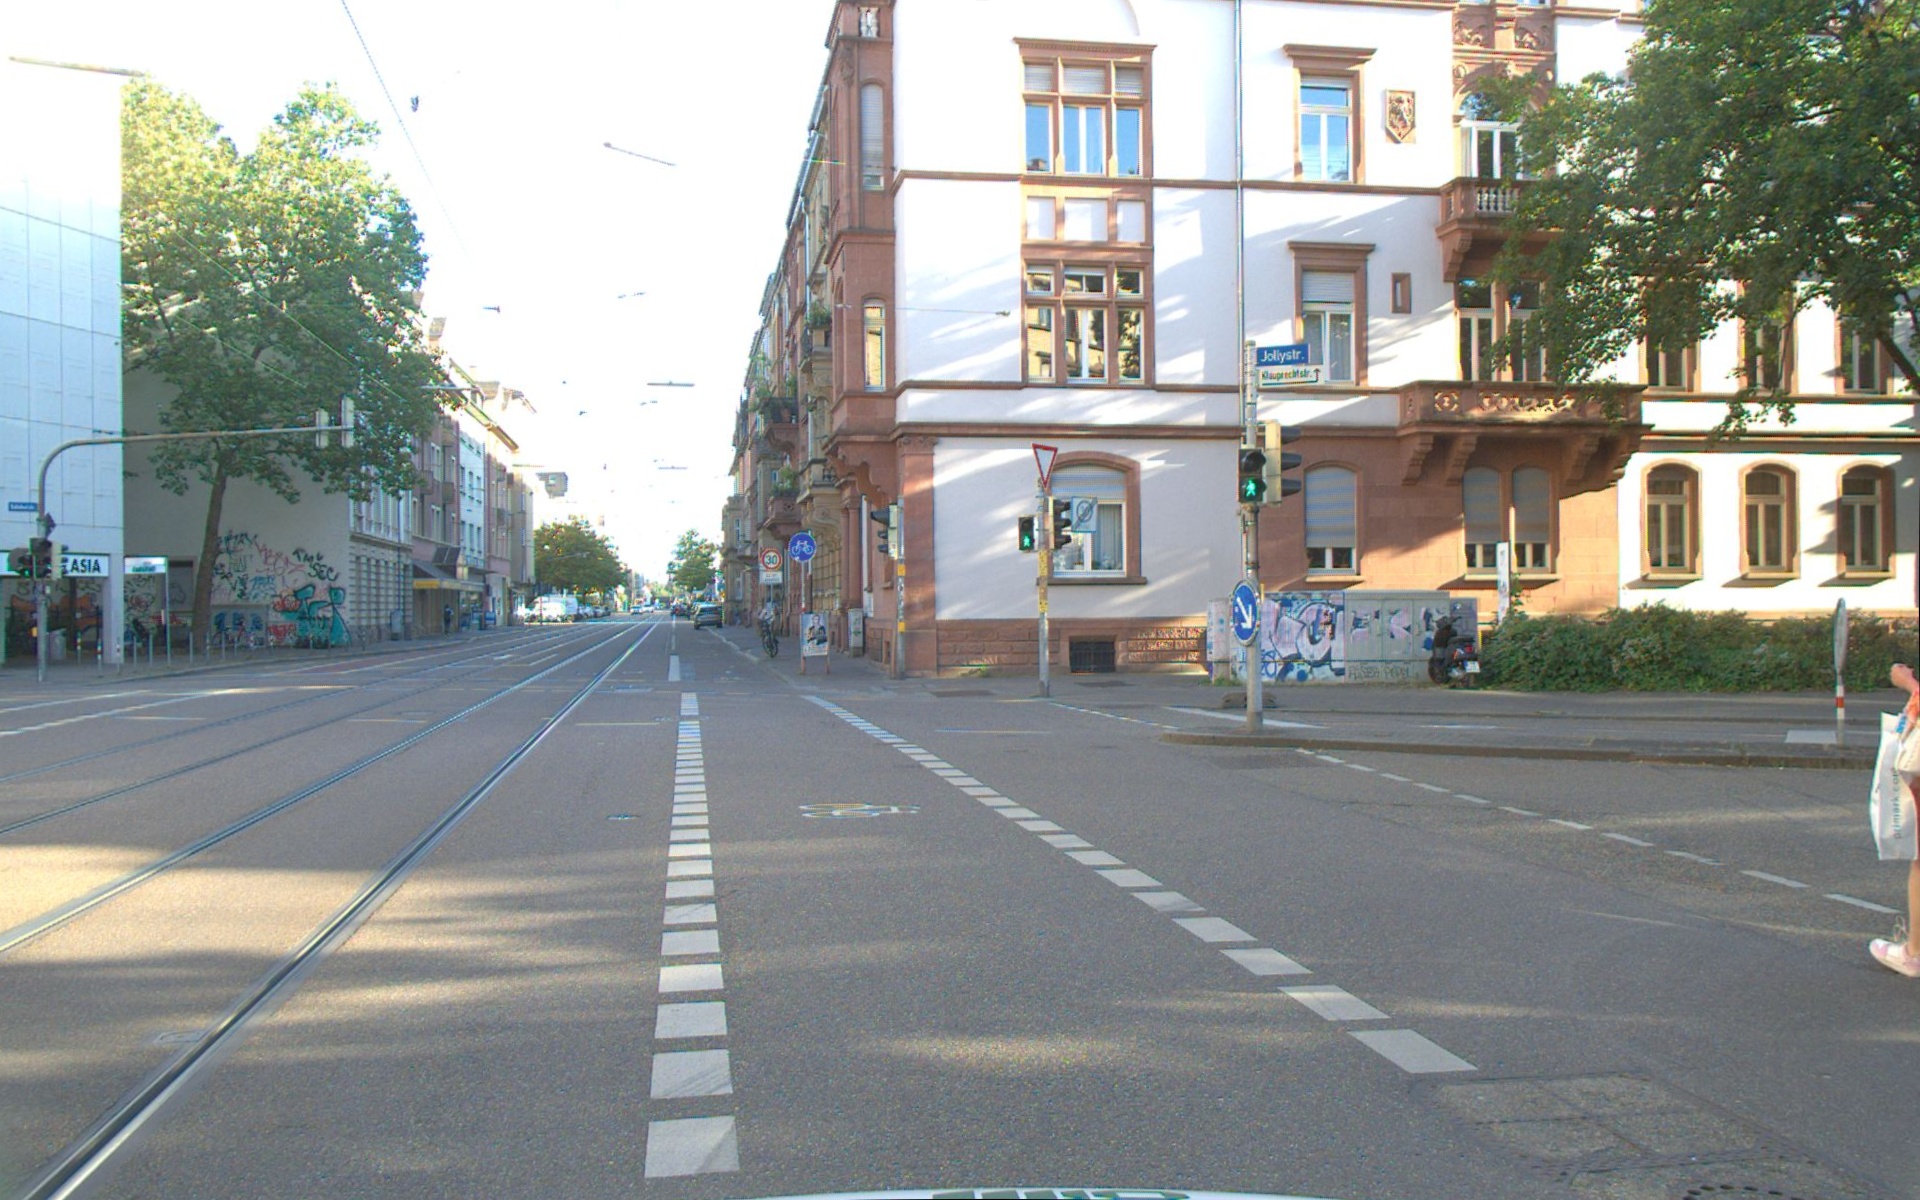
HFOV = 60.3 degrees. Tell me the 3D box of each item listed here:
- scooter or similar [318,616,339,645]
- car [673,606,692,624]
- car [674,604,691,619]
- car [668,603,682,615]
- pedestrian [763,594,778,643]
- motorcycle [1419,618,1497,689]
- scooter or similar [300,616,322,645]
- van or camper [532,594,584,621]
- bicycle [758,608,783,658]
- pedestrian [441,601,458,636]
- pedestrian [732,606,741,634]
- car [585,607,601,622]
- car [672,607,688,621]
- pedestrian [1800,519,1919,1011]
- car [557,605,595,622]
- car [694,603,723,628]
[{"bbox_3d":[-24.278,1.165,63.565,0.507,1.076,1.474,-1,0,-12],"label":"scooter or similar"},{"bbox_3d":[-28.927,1.566,172.209,1.957,1.758,3.990,0,-1,-10],"label":"car"},{"bbox_3d":[-33.070,1.426,196.954,1.957,1.758,3.990,0,-1,-10],"label":"car"},{"bbox_3d":[-40.936,1.329,237.266,1.957,1.758,3.990,0,-1,-10],"label":"car"},{"bbox_3d":[-7.113,0.698,62.157,0.534,1.811,0.503,-1,0,-9],"label":"pedestrian"},{"bbox_3d":[8.407,0.881,28.019,0.704,1.037,2.288,-1,2,2],"label":"motorcycle"},{"bbox_3d":[-24.884,1.171,63.421,0.507,1.064,1.474,-1,0,-12],"label":"scooter or similar"},{"bbox_3d":[-39.169,0.735,161.228,4.608,2.608,1.970,0,-1,-41],"label":"van or camper"},{"bbox_3d":[-5.285,0.894,46.021,0.641,1.347,2.173,-1,0,-7],"label":"bicycle"},{"bbox_3d":[-25.613,0.929,82.981,0.688,1.759,0.646,-1,0,-10],"label":"pedestrian"},{"bbox_3d":[-14.609,1.293,108.020,0.534,1.811,0.748,-1,0,-9],"label":"pedestrian"},{"bbox_3d":[-49.316,1.942,222.332,1.957,2.049,3.990,-1,0,-10],"label":"car"},{"bbox_3d":[-34.353,1.698,203.008,1.957,1.758,3.990,0,-1,-10],"label":"car"},{"bbox_3d":[3.894,0.624,6.452,0.797,1.831,0.754,2,0,-30],"label":"pedestrian"},{"bbox_3d":[-45.476,1.584,195.637,3.953,2.049,1.976,-1,0,-35],"label":"car"},{"bbox_3d":[-17.384,1.059,114.285,1.914,1.713,3.992,-1,0,-9],"label":"car"}]
